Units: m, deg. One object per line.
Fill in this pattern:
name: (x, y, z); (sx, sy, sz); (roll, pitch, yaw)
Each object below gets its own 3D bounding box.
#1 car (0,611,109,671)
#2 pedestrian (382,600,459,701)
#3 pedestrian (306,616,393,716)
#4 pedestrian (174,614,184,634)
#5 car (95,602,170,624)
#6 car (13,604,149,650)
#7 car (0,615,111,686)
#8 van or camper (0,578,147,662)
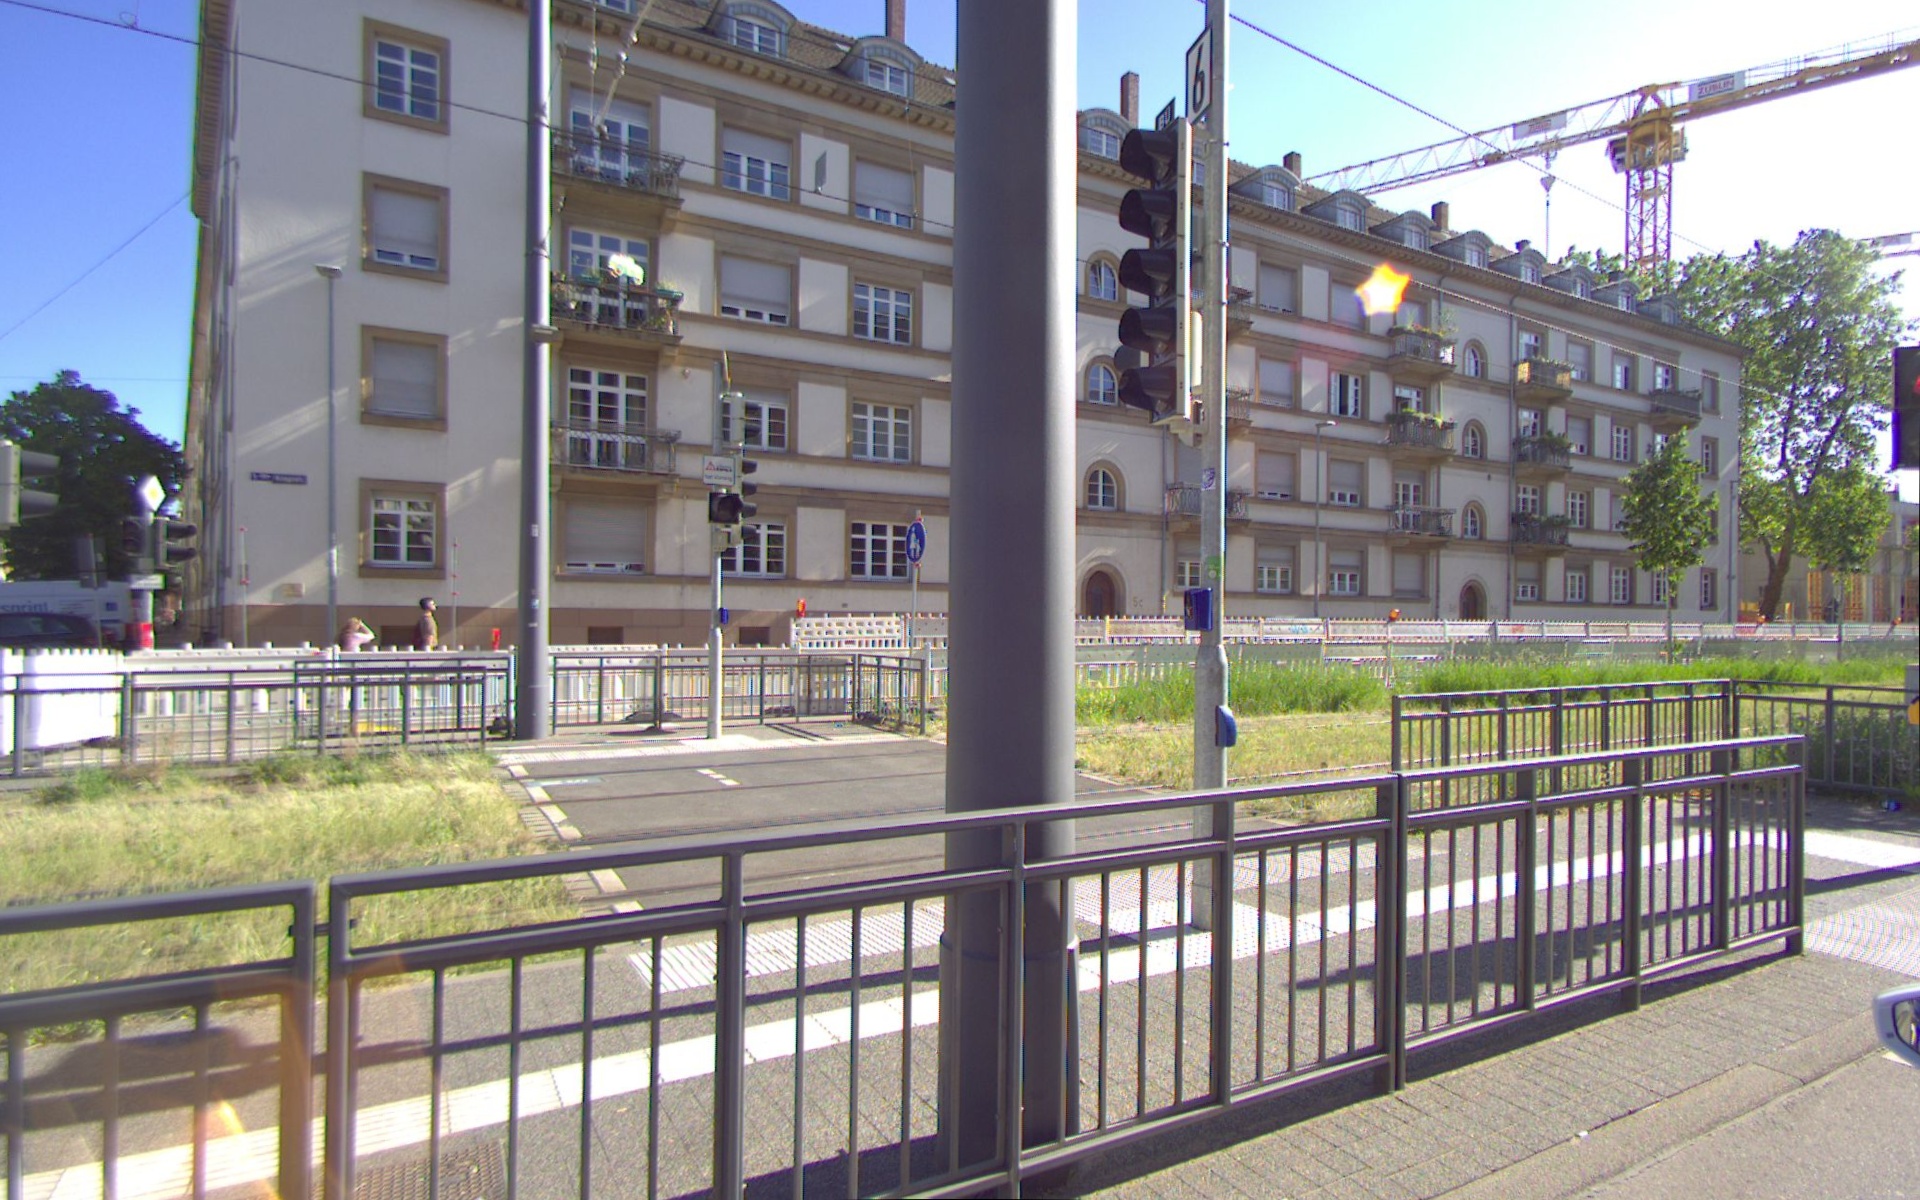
car: (-25.099, 1.072, 26.746); (3.635, 1.542, 1.672); (1, -1, -39)
pedestrian: (-9.988, 0.921, 18.620); (0.891, 1.804, 0.868); (1, 0, 6)
pedestrian: (-10.030, 1.061, 16.515); (0.893, 1.557, 0.866); (1, 0, 28)
pedestrian: (-71.327, 2.188, 91.768); (0.682, 1.778, 0.808); (1, -1, -36)
car: (-57.655, 0.945, 70.042); (1.730, 1.480, 3.854); (0, -1, 43)
car: (-35.543, 1.083, 40.766); (3.963, 1.799, 1.724); (1, -1, -37)
car: (-21.516, 1.113, 22.575); (3.642, 1.542, 1.672); (1, -1, -39)
van or camper: (-28.168, 0.595, 30.046); (5.911, 2.432, 1.976); (1, -1, -42)
